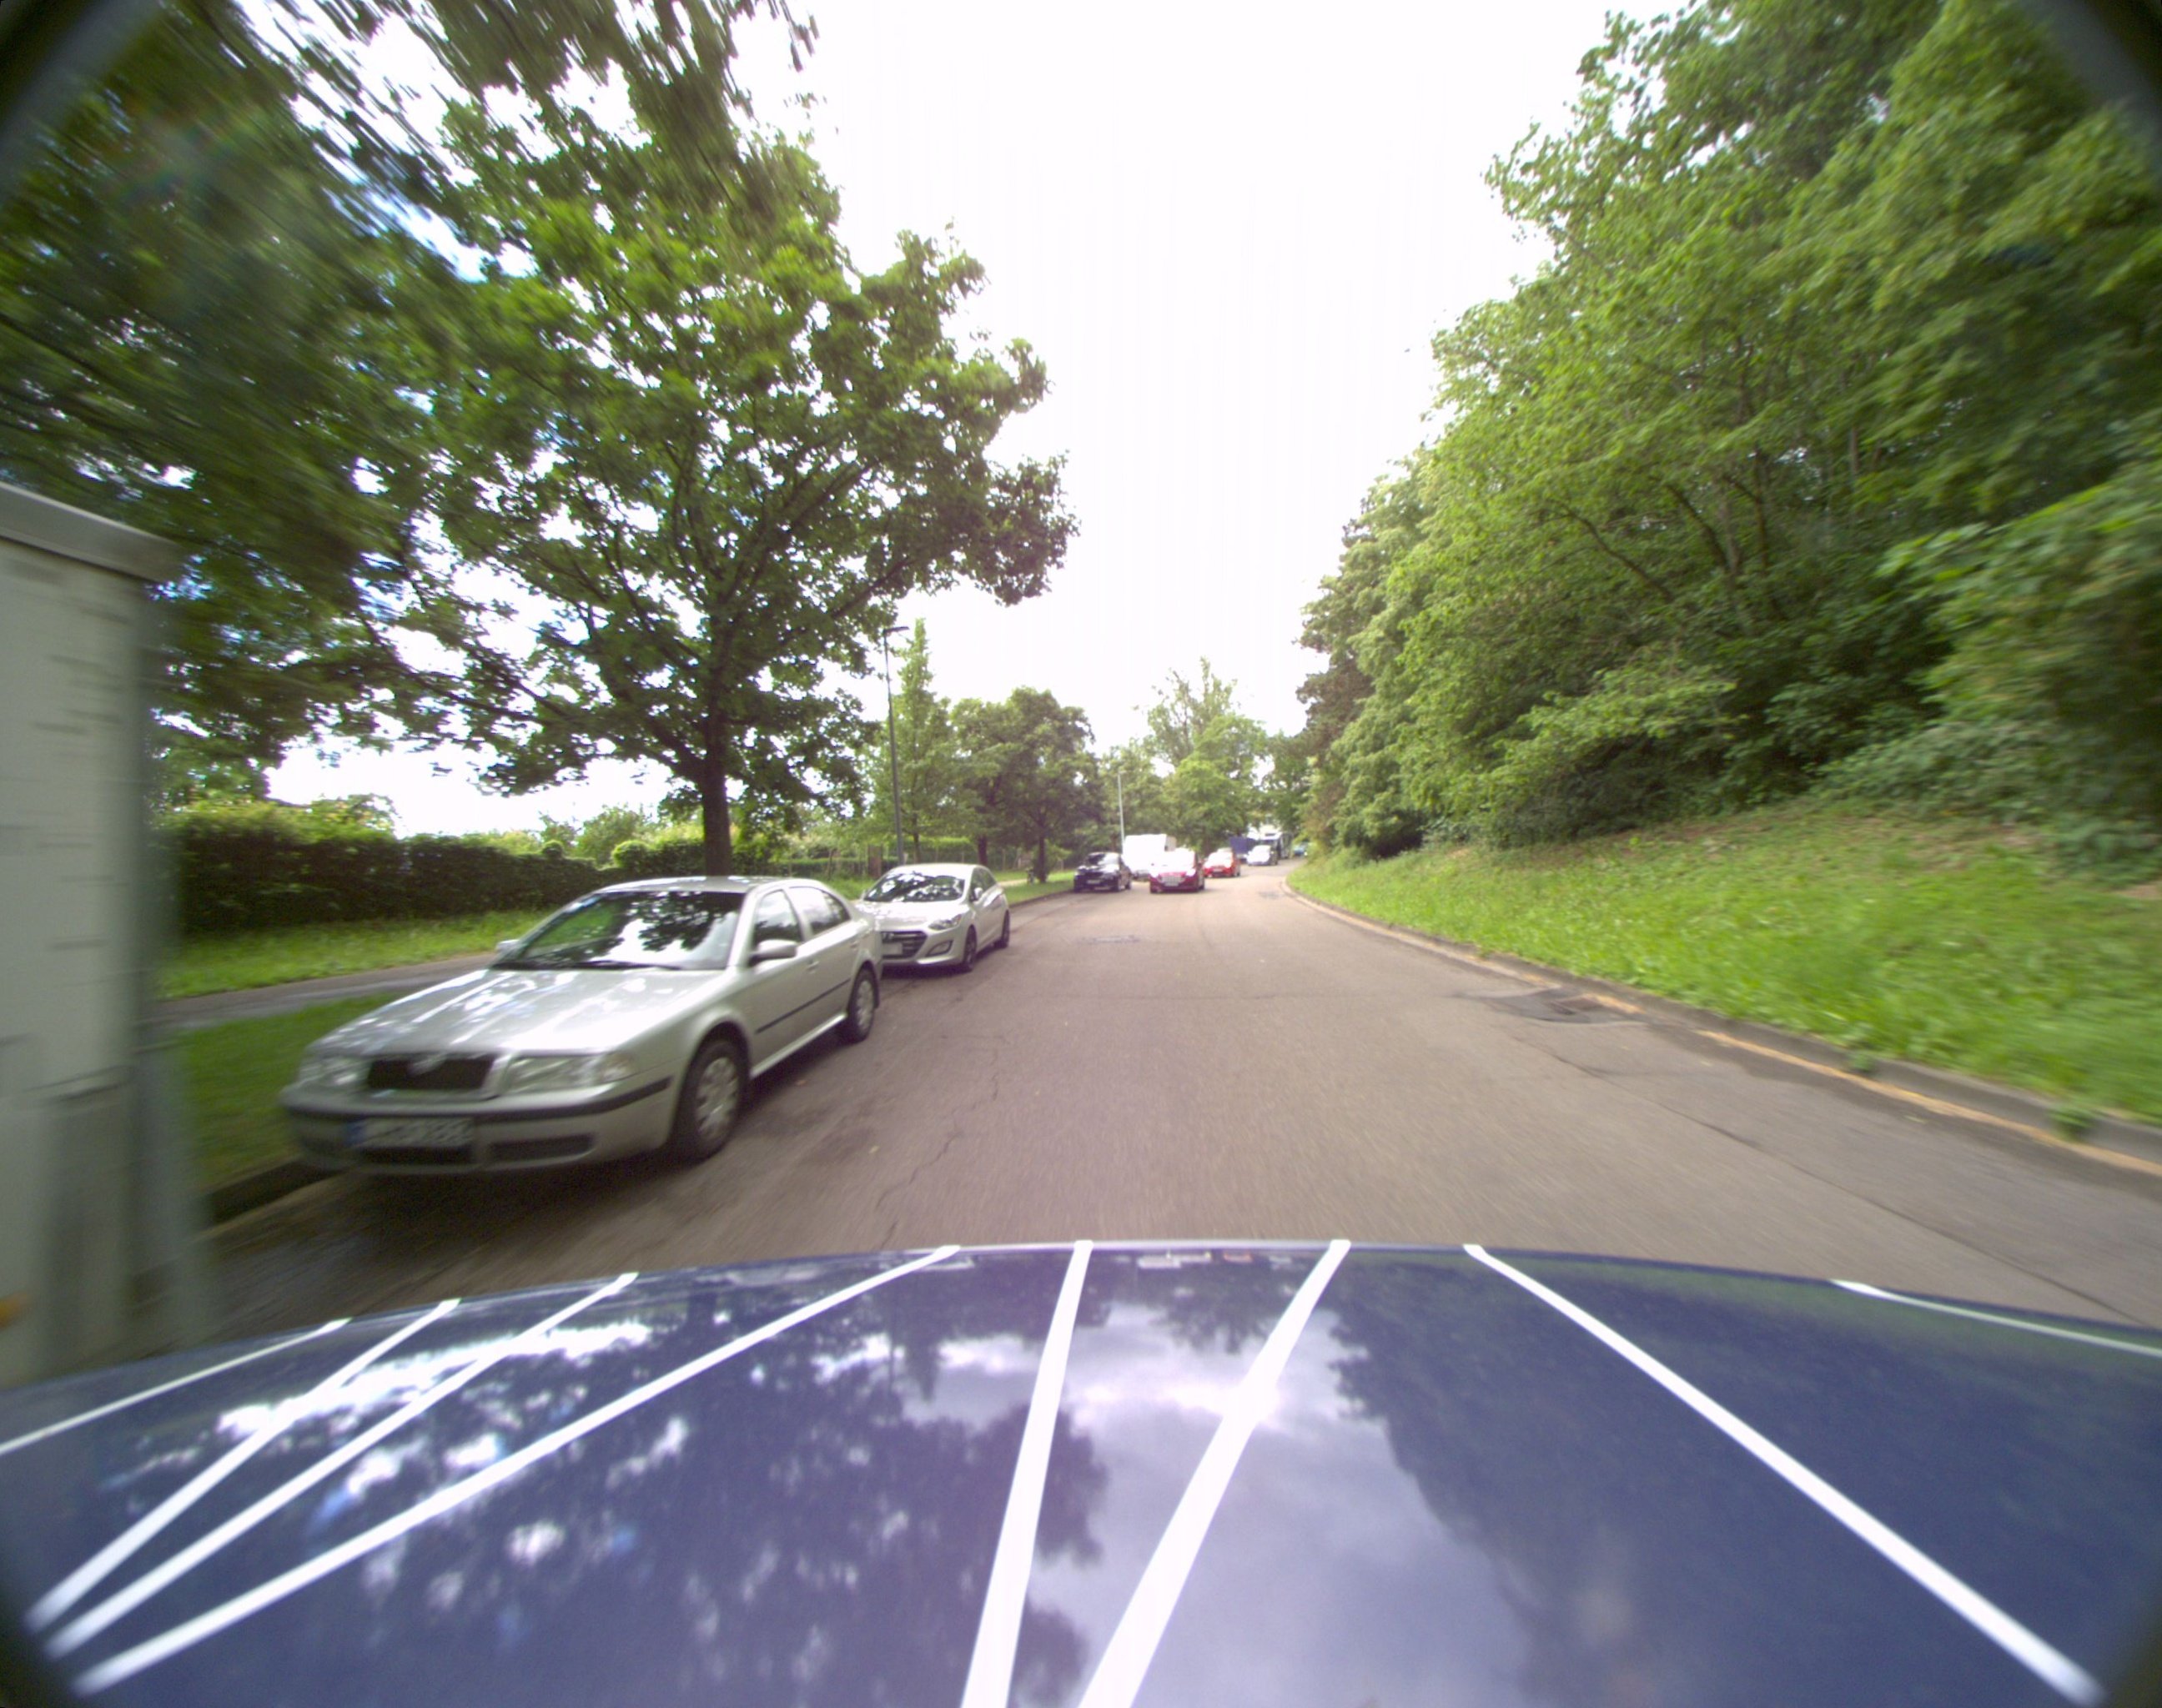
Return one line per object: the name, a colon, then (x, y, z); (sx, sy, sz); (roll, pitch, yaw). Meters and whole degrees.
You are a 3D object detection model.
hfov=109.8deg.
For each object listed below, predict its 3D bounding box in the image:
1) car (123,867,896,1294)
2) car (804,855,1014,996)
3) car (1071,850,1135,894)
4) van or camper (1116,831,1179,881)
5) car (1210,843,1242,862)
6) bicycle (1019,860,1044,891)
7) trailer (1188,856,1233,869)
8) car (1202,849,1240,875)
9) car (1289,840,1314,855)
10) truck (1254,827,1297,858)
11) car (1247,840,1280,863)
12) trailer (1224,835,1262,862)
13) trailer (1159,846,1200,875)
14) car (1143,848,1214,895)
car: (-2.816, 0.941, 5.307); (1.745, 1.516, 4.635); (-1, 1, 2)
car: (-2.315, 0.902, 11.443); (1.906, 1.468, 4.058); (-3, 2, 4)
car: (0.999, 0.688, 31.980); (1.851, 1.633, 4.534); (-2, 1, 12)
van or camper: (3.769, 0.040, 42.040); (2.164, 2.522, 6.038); (-3, 1, 17)
car: (12.233, -0.124, 64.157); (1.730, 1.513, 3.411); (-2, -1, 27)
bicycle: (-2.265, 0.975, 35.259); (0.535, 1.209, 2.185); (-3, 3, 12)
trailer: (10.041, 0.626, 58.571); (2.106, 0.647, 6.409); (-3, 1, 21)
car: (8.178, 0.466, 44.088); (1.865, 1.440, 4.181); (-1, -1, 14)
car: (25.251, -0.790, 86.856); (1.696, 1.538, 3.774); (-2, 2, 34)
truck: (20.005, -1.218, 77.894); (2.305, 2.917, 7.045); (-1, 2, 31)
car: (14.845, -0.199, 61.716); (1.919, 1.672, 4.005); (0, 3, 24)
trailer: (14.589, -0.496, 68.350); (2.108, 2.348, 4.710); (0, 0, 28)
trailer: (6.657, 0.382, 50.794); (1.774, 1.721, 4.655); (0, 2, 19)
car: (4.041, 0.663, 30.787); (1.996, 1.619, 4.631); (-3, 1, 18)
